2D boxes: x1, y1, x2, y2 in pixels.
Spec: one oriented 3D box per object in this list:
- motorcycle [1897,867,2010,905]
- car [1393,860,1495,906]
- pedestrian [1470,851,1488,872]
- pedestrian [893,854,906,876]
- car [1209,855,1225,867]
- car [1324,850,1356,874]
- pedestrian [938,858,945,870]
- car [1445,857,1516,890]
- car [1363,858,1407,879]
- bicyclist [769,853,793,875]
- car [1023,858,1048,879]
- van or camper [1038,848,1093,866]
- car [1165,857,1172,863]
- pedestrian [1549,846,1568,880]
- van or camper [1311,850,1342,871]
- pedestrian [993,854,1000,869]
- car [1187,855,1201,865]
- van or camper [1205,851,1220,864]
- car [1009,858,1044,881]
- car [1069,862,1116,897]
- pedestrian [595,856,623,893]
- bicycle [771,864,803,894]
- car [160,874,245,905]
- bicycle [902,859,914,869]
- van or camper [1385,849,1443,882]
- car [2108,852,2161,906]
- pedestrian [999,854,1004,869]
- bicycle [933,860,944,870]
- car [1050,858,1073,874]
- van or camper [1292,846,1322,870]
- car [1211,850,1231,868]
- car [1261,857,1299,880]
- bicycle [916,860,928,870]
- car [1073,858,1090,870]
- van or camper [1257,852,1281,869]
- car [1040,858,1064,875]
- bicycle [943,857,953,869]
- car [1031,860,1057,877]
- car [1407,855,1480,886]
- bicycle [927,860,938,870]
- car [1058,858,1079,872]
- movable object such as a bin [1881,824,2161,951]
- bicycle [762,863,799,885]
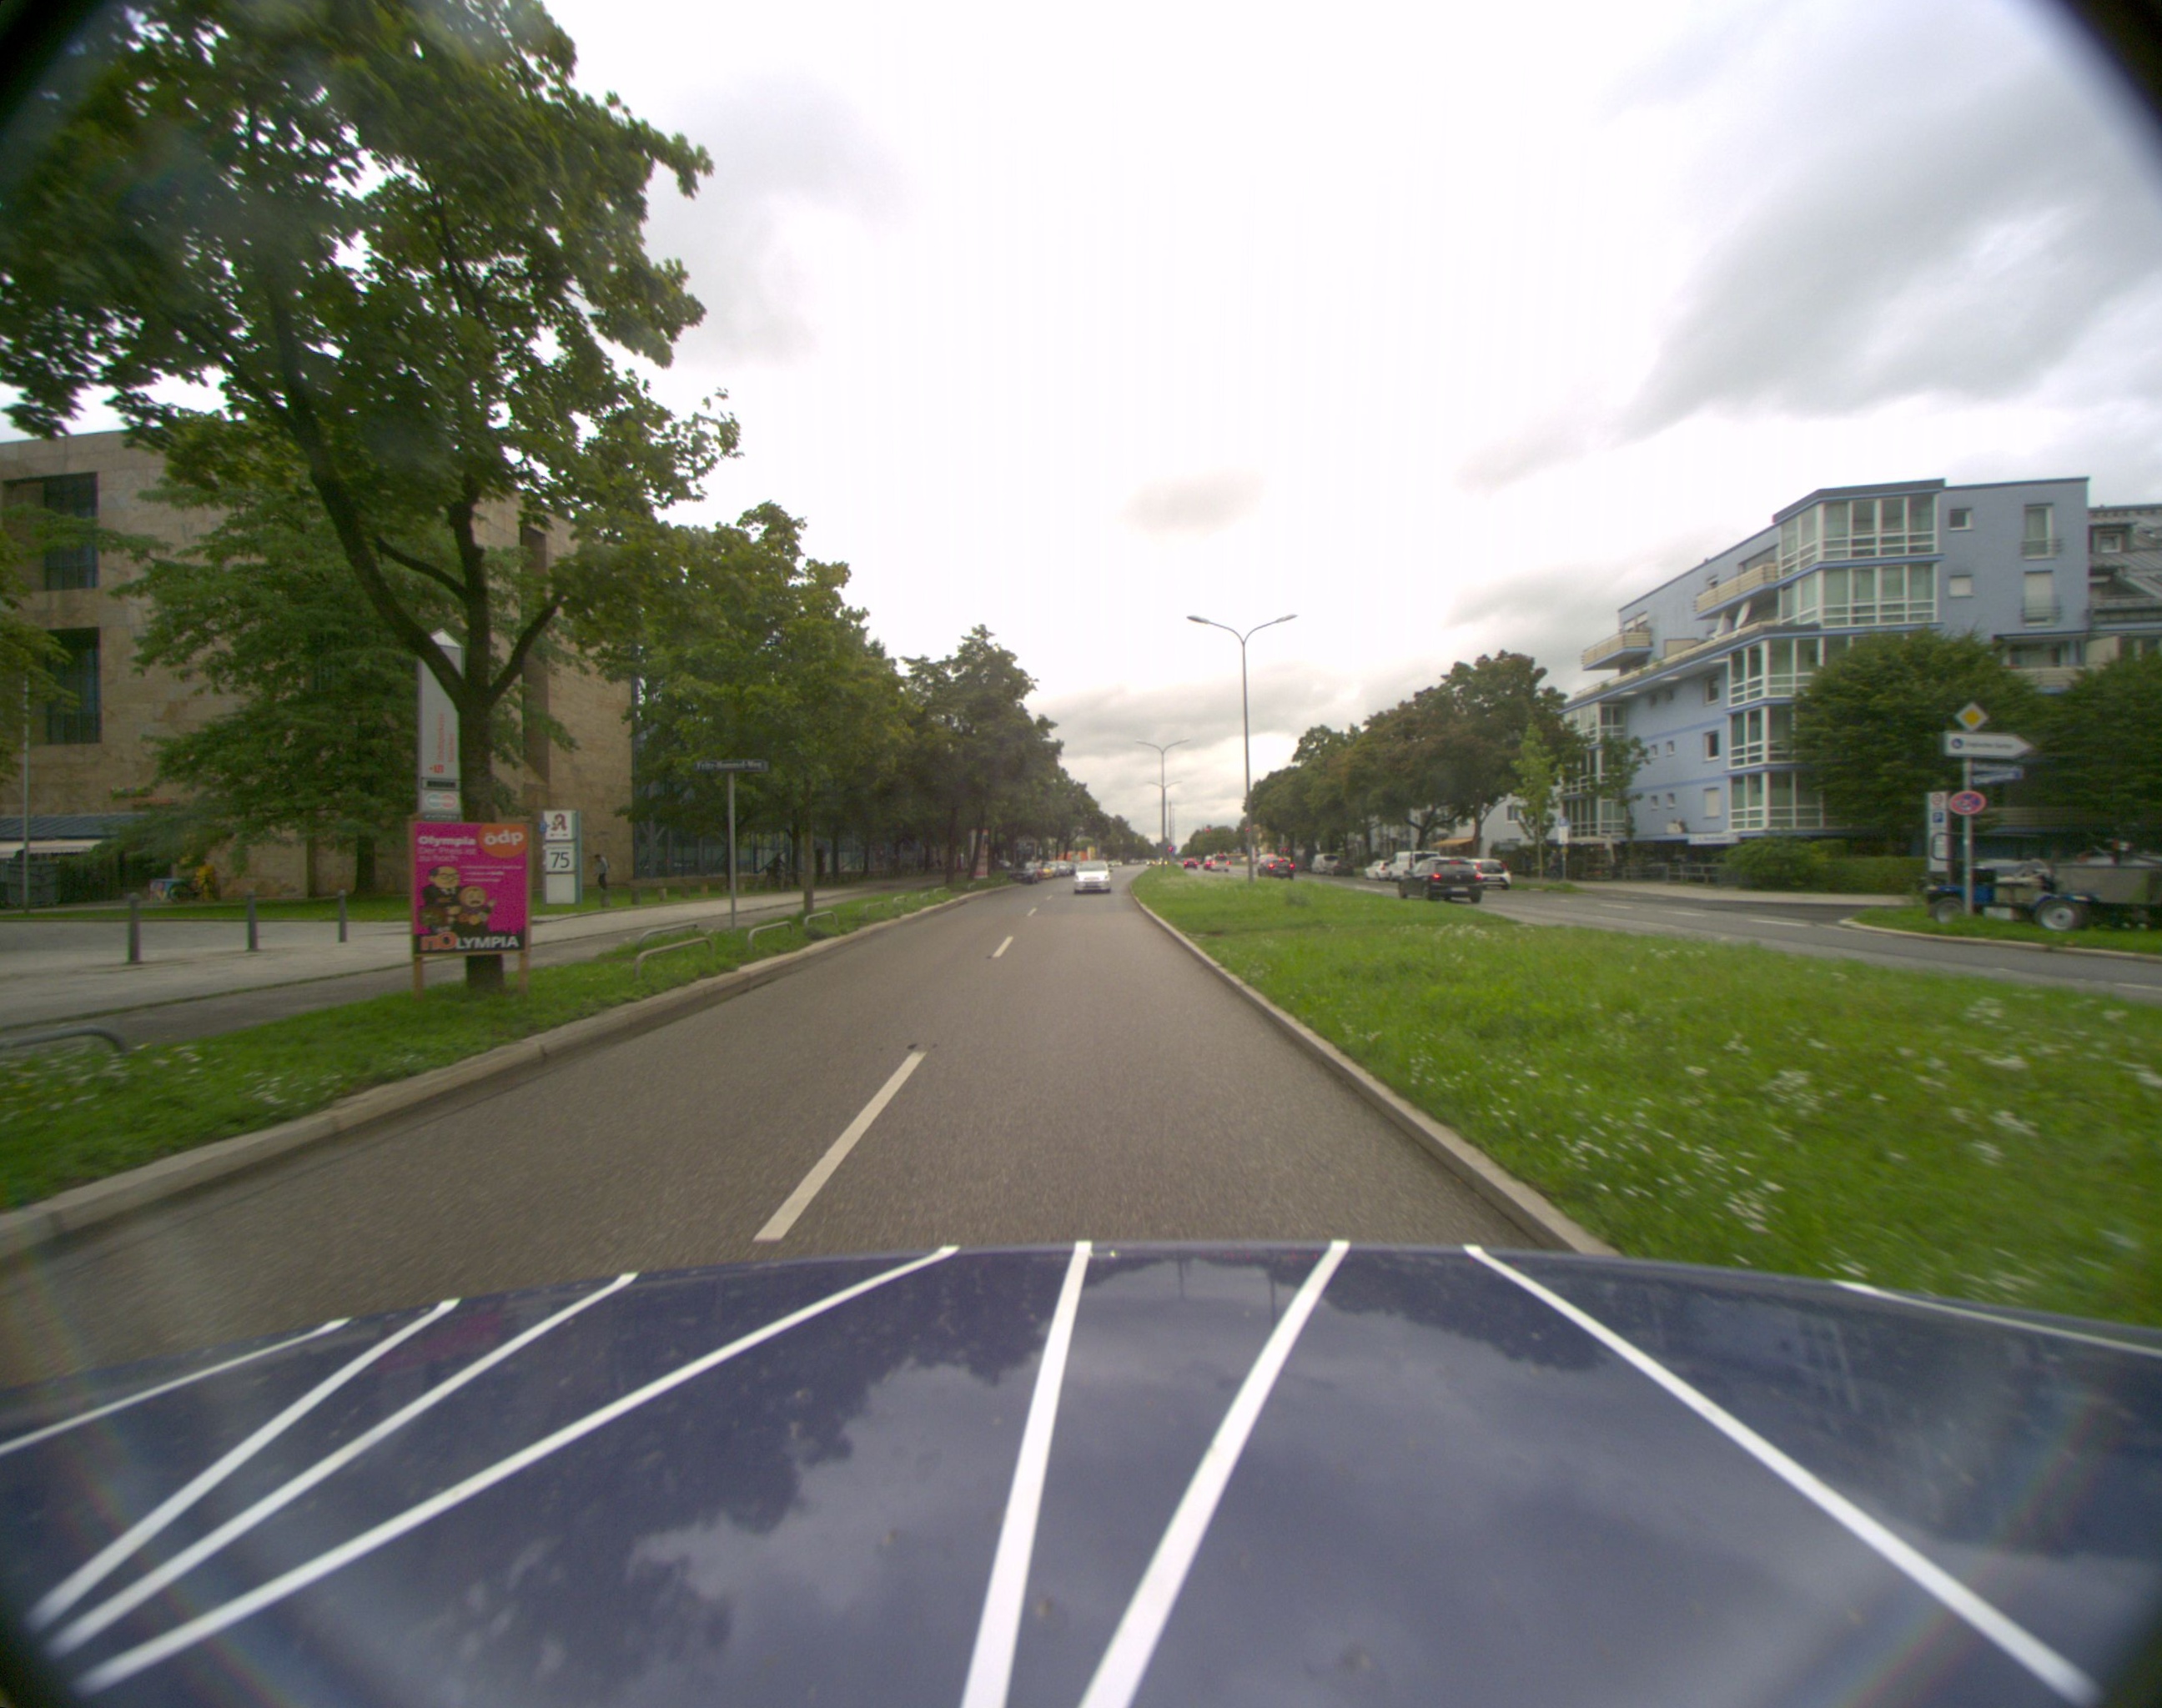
[{"bbox_3d":[28.740,1.022,25.090,0.498,1.126,2.475,0,0,-16],"label":"motorcycle"},{"bbox_3d":[12.201,0.938,25.831,1.786,1.397,4.103,0,0,4],"label":"car"},{"bbox_3d":[29.768,0.562,56.855,0.768,1.593,0.973,0,0,-30],"label":"pedestrian"},{"bbox_3d":[-13.536,0.833,56.748,0.738,1.636,0.645,1,1,12],"label":"pedestrian"},{"bbox_3d":[17.286,0.900,96.625,1.795,1.440,3.674,0,0,7],"label":"car"},{"bbox_3d":[22.676,0.689,66.684,1.800,1.986,4.548,0,0,7],"label":"car"},{"bbox_3d":[-13.869,0.950,75.605,0.506,1.172,0.426,1,1,6],"label":"pedestrian"},{"bbox_3d":[19.256,0.917,36.776,1.651,1.480,3.903,0,0,4],"label":"car"},{"bbox_3d":[21.179,1.006,53.156,1.679,1.386,4.336,0,0,5],"label":"car"},{"bbox_3d":[-16.206,0.535,41.066,0.725,1.123,0.961,0,0,28],"label":"bicyclist"},{"bbox_3d":[-3.543,1.081,59.377,1.554,1.564,3.625,0,0,3],"label":"car"},{"bbox_3d":[-3.198,0.583,157.588,10.908,3.533,3.318,0,0,-22],"label":"van or camper"},{"bbox_3d":[19.908,1.377,173.002,1.589,1.259,3.736,0,0,7],"label":"car"},{"bbox_3d":[25.847,0.495,41.119,0.643,1.794,0.780,0,0,11],"label":"pedestrian"},{"bbox_3d":[23.430,0.624,72.674,2.025,1.930,4.706,0,0,7],"label":"van or camper"},{"bbox_3d":[-9.405,0.794,84.342,0.612,1.680,0.612,1,1,2],"label":"pedestrian"},{"bbox_3d":[15.895,0.835,107.177,1.760,1.440,3.674,0,0,7],"label":"car"},{"bbox_3d":[18.164,0.454,105.162,1.795,1.787,4.127,0,0,7],"label":"van or camper"},{"bbox_3d":[-3.844,1.082,54.247,1.865,1.581,4.604,0,0,3],"label":"car"},{"bbox_3d":[0.569,1.092,33.801,1.678,1.433,3.736,0,0,7],"label":"car"},{"bbox_3d":[-21.298,0.920,34.271,0.571,1.636,0.880,0,0,26],"label":"pedestrian"},{"bbox_3d":[-12.602,1.045,32.646,0.622,1.243,1.920,0,0,0],"label":"bicycle"},{"bbox_3d":[-32.580,1.283,28.213,0.678,1.008,2.077,0,1,1],"label":"car"},{"bbox_3d":[-16.934,0.974,74.529,0.571,0.935,2.065,0,1,4],"label":"bicycle"},{"bbox_3d":[20.453,0.682,46.918,1.808,1.956,5.213,0,0,6],"label":"van or camper"},{"bbox_3d":[36.011,0.768,23.613,5.112,1.672,2.001,0,0,5],"label":"car"},{"bbox_3d":[-8.814,0.818,84.351,0.528,1.713,0.660,1,1,2],"label":"pedestrian"},{"bbox_3d":[-14.293,1.075,76.160,0.512,0.935,2.142,0,0,4],"label":"bicycle"},{"bbox_3d":[-1.857,1.121,73.942,1.681,1.522,4.098,0,0,7],"label":"car"},{"bbox_3d":[24.407,0.391,82.136,2.054,2.472,5.551,0,0,5],"label":"van or camper"},{"bbox_3d":[16.081,0.595,87.349,1.943,1.986,4.706,0,0,7],"label":"car"},{"bbox_3d":[13.726,0.980,52.672,1.961,1.471,4.261,0,0,7],"label":"car"},{"bbox_3d":[-15.742,1.060,75.181,0.618,0.935,1.763,0,0,4],"label":"bicycle"},{"bbox_3d":[0.111,1.194,90.174,1.589,1.395,3.736,0,0,7],"label":"car"},{"bbox_3d":[21.800,0.745,88.393,2.019,2.004,5.201,0,0,6],"label":"van or camper"},{"bbox_3d":[-2.600,1.125,68.611,1.626,1.466,3.897,0,0,7],"label":"car"},{"bbox_3d":[-13.354,0.913,76.230,0.512,1.185,2.142,0,1,4],"label":"bicycle"},{"bbox_3d":[-3.090,1.185,63.824,1.626,1.373,4.196,0,0,4],"label":"car"},{"bbox_3d":[19.745,0.853,41.611,1.703,1.606,4.663,0,0,-2],"label":"car"},{"bbox_3d":[-14.841,1.100,76.128,0.512,0.935,2.142,0,0,4],"label":"bicycle"},{"bbox_3d":[-1.275,1.128,79.108,1.681,1.497,3.736,0,0,7],"label":"car"},{"bbox_3d":[17.470,0.509,13.550,2.198,1.941,4.000,-1,0,0],"label":"movable object such as a bin"},{"bbox_3d":[-16.215,1.057,41.041,0.725,1.123,1.770,0,0,28],"label":"bicycle"}]
